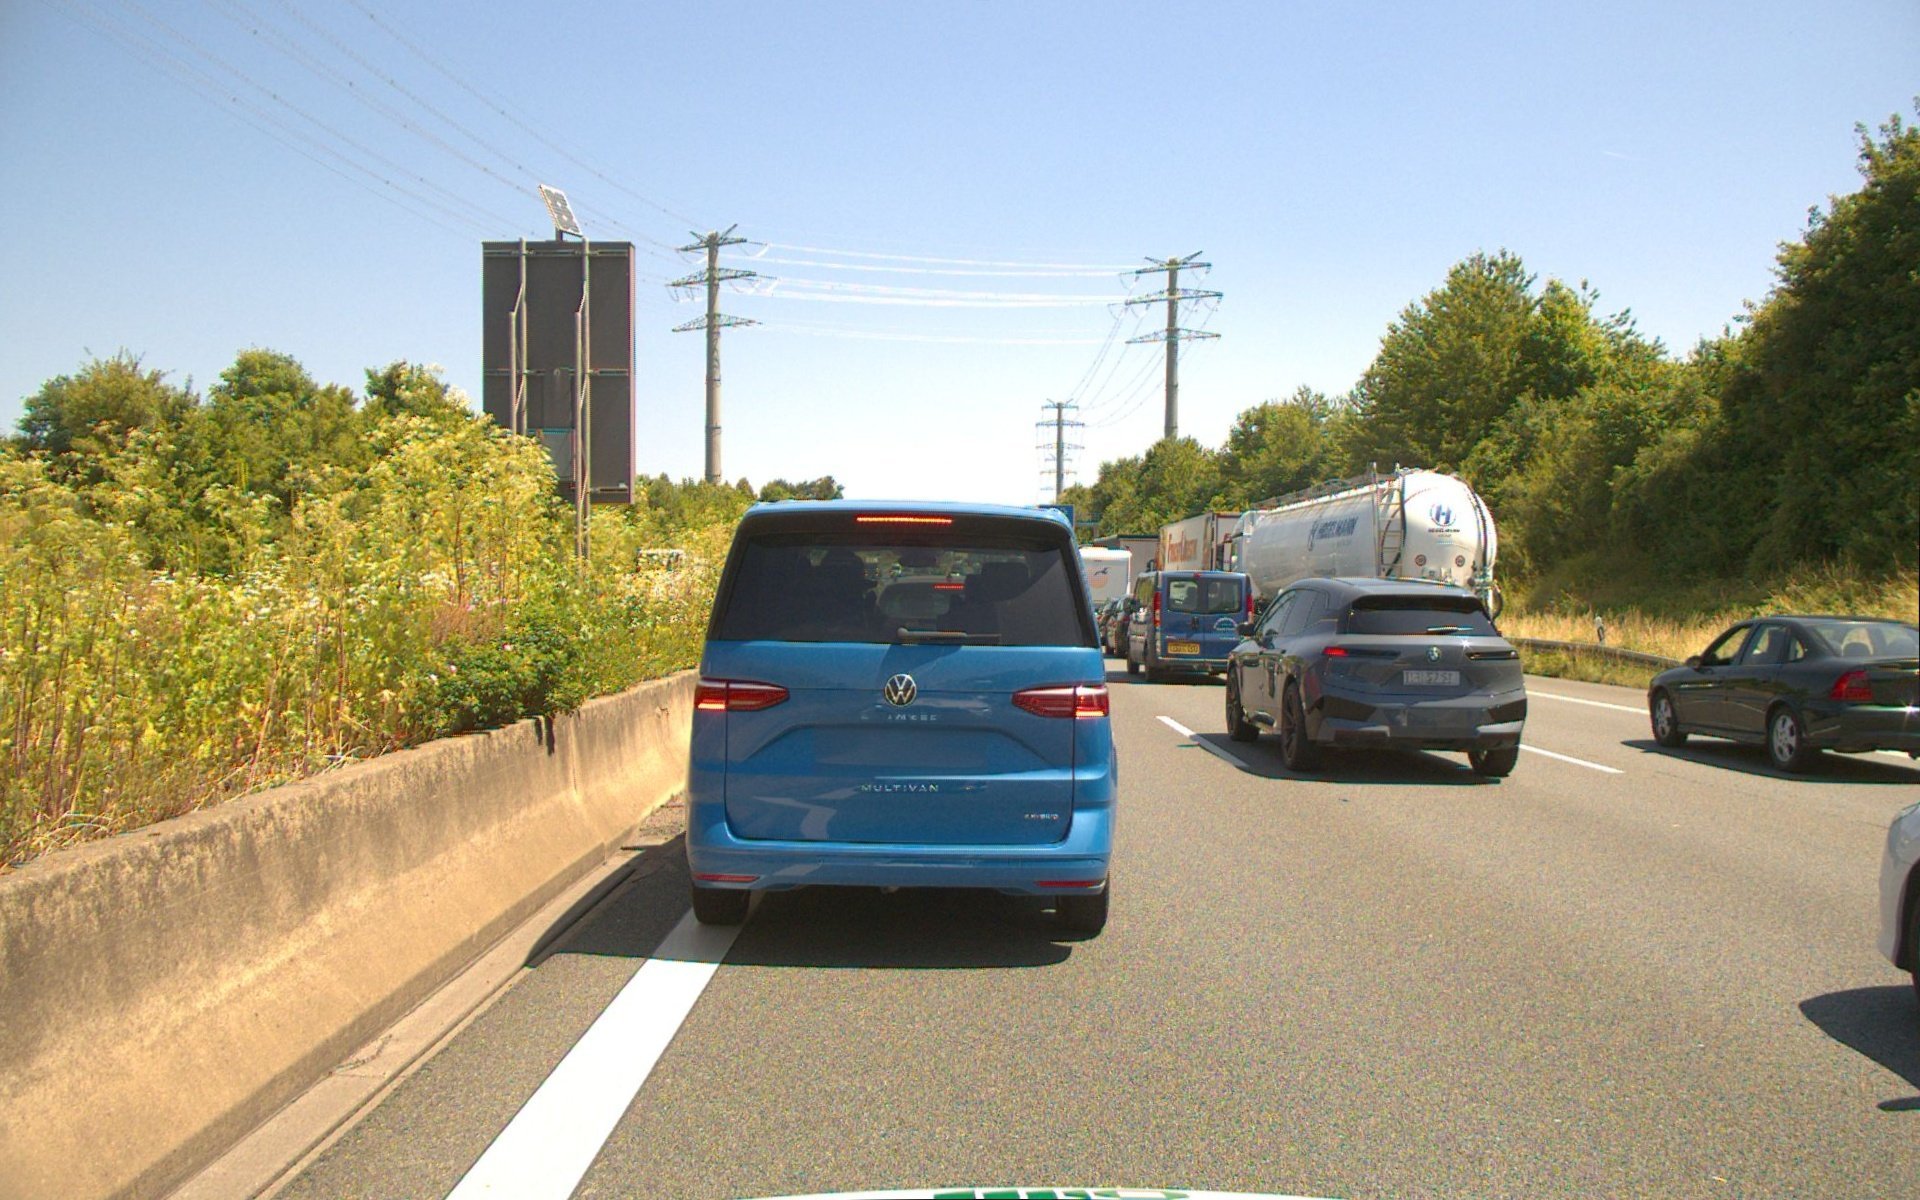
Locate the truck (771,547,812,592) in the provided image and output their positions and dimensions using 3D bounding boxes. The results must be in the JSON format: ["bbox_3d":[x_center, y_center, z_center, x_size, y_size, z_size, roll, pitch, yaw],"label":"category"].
[{"bbox_3d":[-14.464,-2.604,142.201,3.009,3.774,5.462,0,0,-1],"label":"truck"}]

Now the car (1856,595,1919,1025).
[{"bbox_3d":[4.236,0.720,4.219,1.779,1.511,4.000,0,-1,1],"label":"car"}]

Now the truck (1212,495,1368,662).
[{"bbox_3d":[8.177,-0.514,41.606,2.736,3.903,5.571,0,0,-1],"label":"truck"}]

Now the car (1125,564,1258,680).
[{"bbox_3d":[4.176,0.405,30.506,1.884,1.959,4.236,-1,-1,1],"label":"car"}]

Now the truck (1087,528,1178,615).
[{"bbox_3d":[8.230,-1.246,81.010,2.944,3.832,15.713,0,0,1],"label":"truck"}]

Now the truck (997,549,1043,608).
[{"bbox_3d":[4.047,-1.409,112.761,2.836,3.832,10.140,0,0,1],"label":"truck"}]

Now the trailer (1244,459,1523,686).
[{"bbox_3d":[8.295,-0.496,34.286,2.705,3.912,11.484,0,0,-1],"label":"trailer"}]

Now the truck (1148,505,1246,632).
[{"bbox_3d":[8.793,-1.130,61.939,2.853,4.547,5.141,0,0,-1],"label":"truck"}]

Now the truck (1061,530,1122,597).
[{"bbox_3d":[8.098,-2.153,103.187,2.836,3.832,13.345,0,0,1],"label":"truck"}]

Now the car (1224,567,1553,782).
[{"bbox_3d":[3.855,0.625,15.766,1.958,1.745,4.625,0,-1,0],"label":"car"}]

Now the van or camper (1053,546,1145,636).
[{"bbox_3d":[4.979,-0.297,60.336,2.896,3.075,7.103,0,0,1],"label":"van or camper"}]

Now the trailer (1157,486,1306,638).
[{"bbox_3d":[8.861,-1.143,55.597,2.853,4.547,12.152,0,0,-1],"label":"trailer"}]

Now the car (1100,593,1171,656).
[{"bbox_3d":[4.283,0.597,40.730,1.332,1.445,3.884,-1,-1,0],"label":"car"}]

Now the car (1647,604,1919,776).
[{"bbox_3d":[8.315,0.781,16.082,1.607,1.441,3.989,-1,-1,0],"label":"car"}]

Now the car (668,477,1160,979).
[{"bbox_3d":[-0.182,0.489,8.482,1.881,1.919,4.000,1,0,0],"label":"car"}]

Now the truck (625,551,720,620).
[{"bbox_3d":[-14.887,-0.725,86.543,2.708,3.346,11.820,0,0,1],"label":"truck"}]

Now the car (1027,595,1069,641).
[{"bbox_3d":[3.995,0.806,75.688,1.798,2.033,4.000,-1,-1,1],"label":"car"}]

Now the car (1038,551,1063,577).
[{"bbox_3d":[7.684,-3.039,140.942,1.953,2.049,4.000,0,0,0],"label":"car"}]

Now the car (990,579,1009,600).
[{"bbox_3d":[4.304,-1.144,180.420,1.953,2.163,3.999,0,0,-1],"label":"car"}]
